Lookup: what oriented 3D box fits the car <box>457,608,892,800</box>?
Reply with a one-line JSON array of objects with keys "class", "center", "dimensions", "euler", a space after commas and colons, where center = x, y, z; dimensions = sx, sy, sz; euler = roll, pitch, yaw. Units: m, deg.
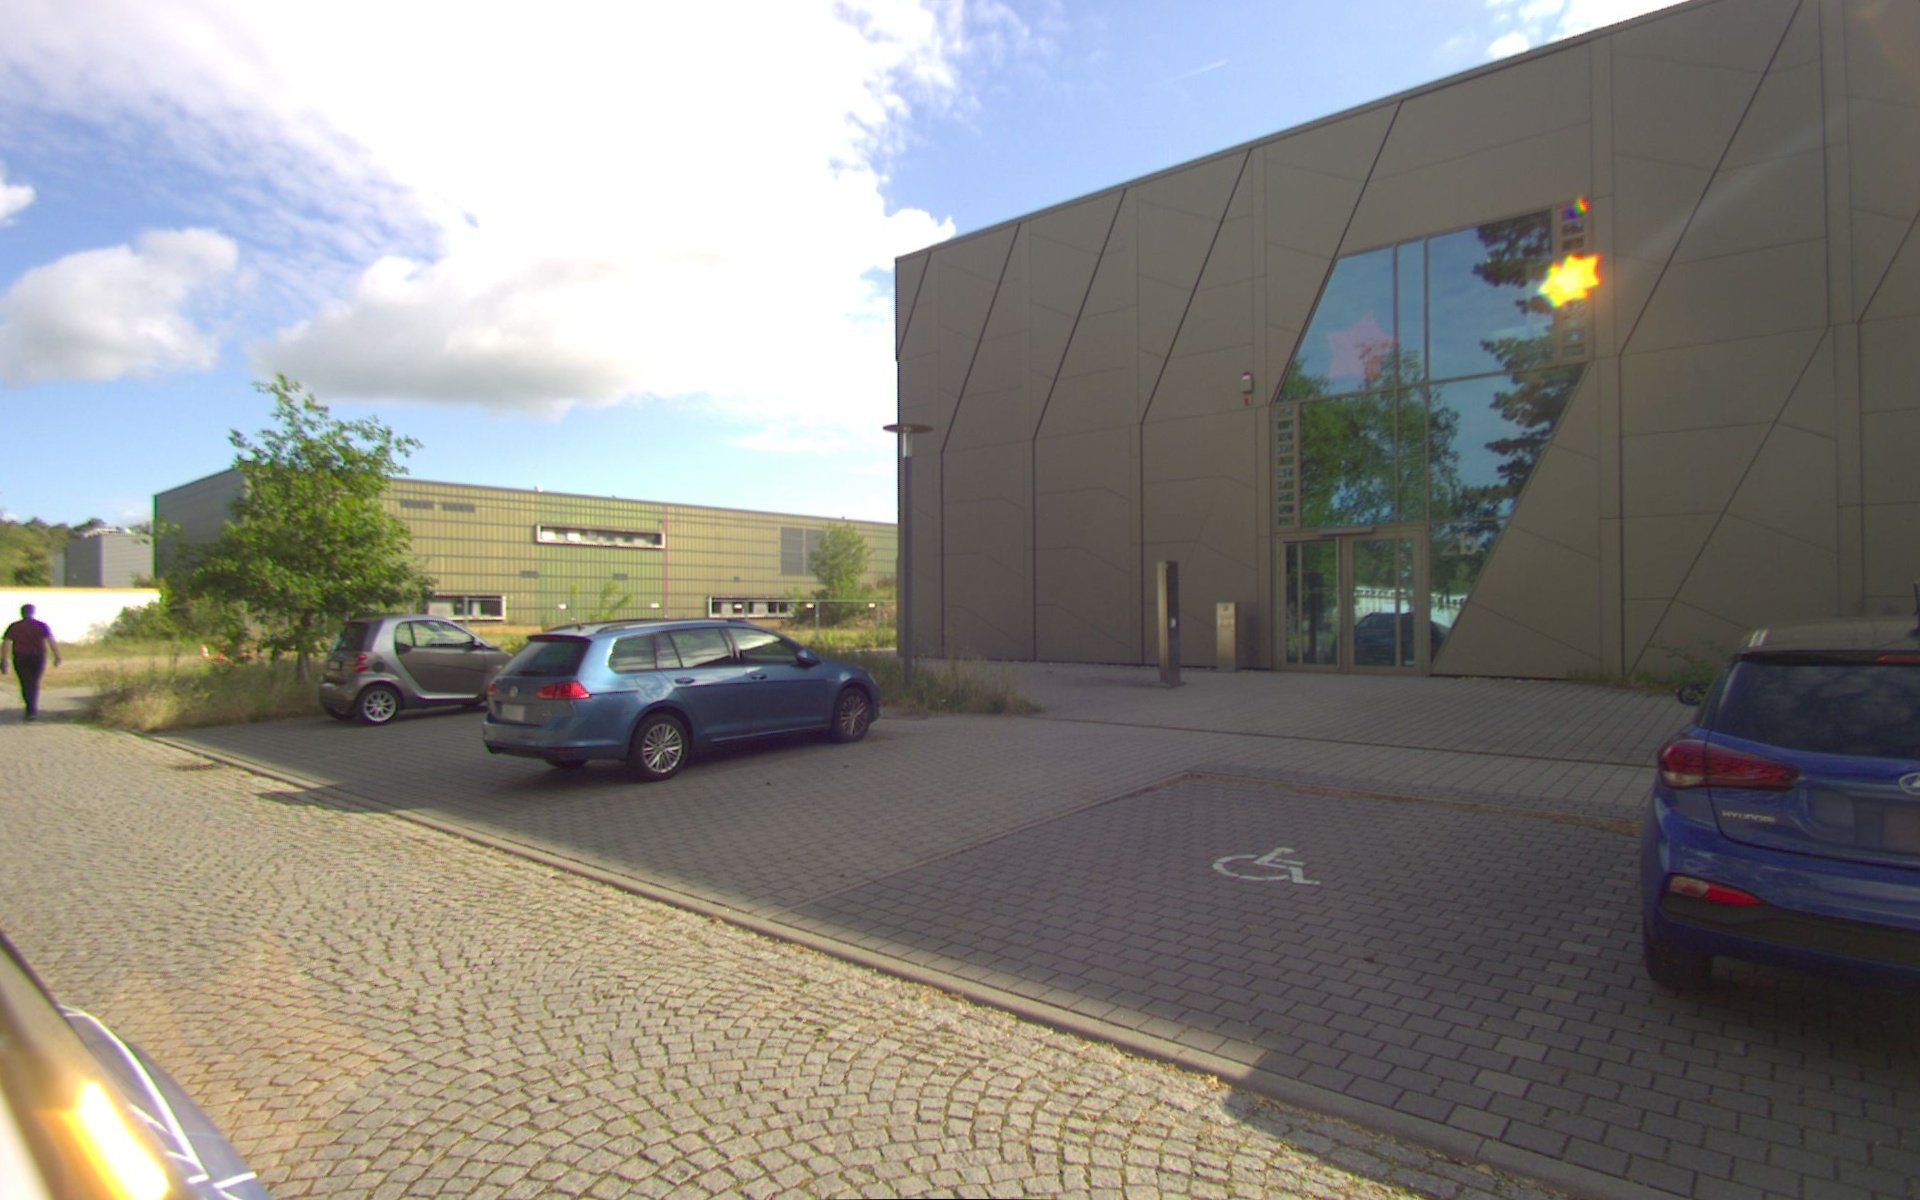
[{"class": "car", "center": [-2.742, 0.888, 10.609], "dimensions": [1.678, 1.475, 4.217], "euler": [-1, 1, 38]}]

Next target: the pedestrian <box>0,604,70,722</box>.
[{"class": "pedestrian", "center": [-14.735, 0.967, 15.973], "dimensions": [1.151, 1.785, 0.797], "euler": [-1, -1, 36]}]

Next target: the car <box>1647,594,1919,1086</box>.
[{"class": "car", "center": [4.385, 0.746, 4.496], "dimensions": [1.719, 1.475, 3.795], "euler": [-1, 1, 42]}]

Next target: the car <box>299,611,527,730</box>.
[{"class": "car", "center": [-8.300, 0.991, 15.465], "dimensions": [1.517, 1.554, 2.672], "euler": [-1, 1, 39]}]
